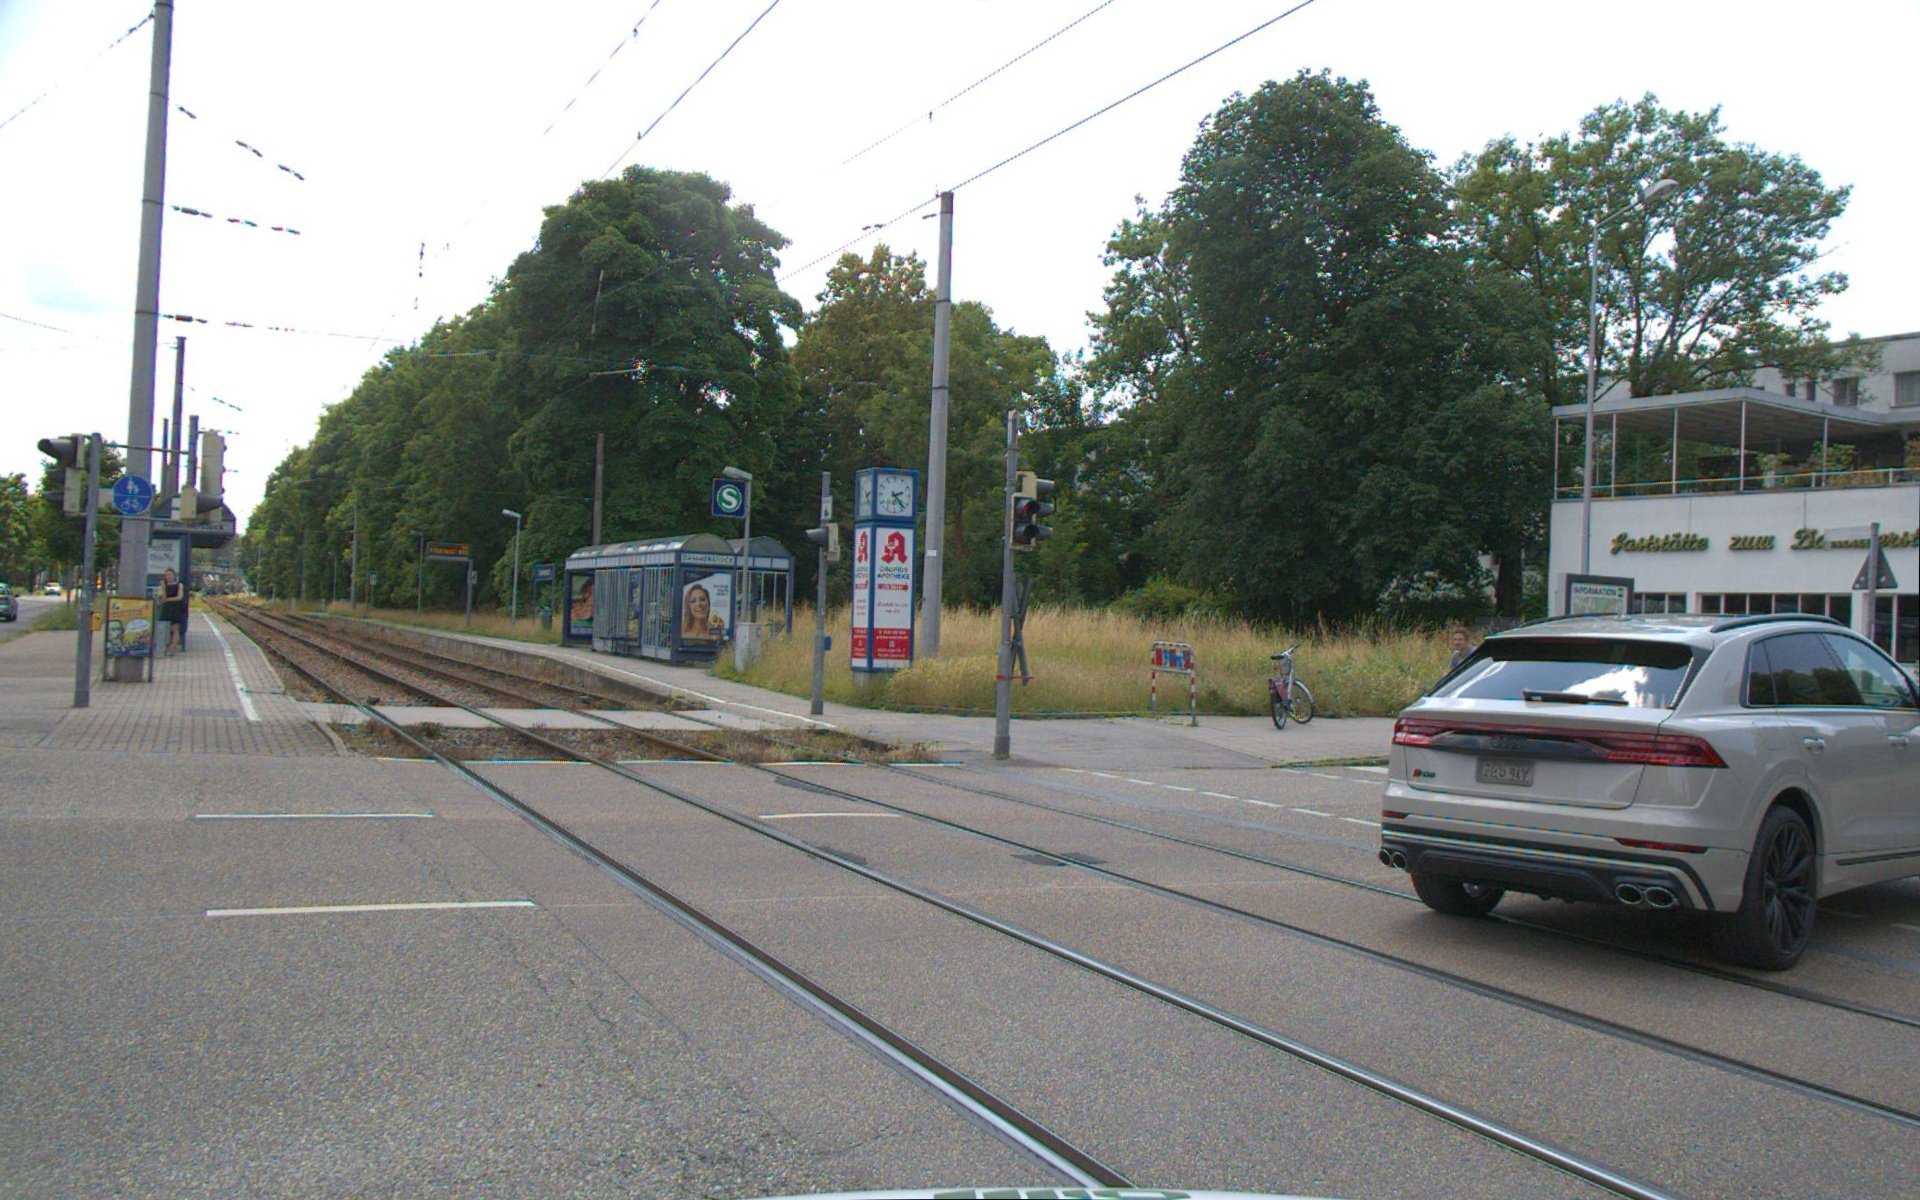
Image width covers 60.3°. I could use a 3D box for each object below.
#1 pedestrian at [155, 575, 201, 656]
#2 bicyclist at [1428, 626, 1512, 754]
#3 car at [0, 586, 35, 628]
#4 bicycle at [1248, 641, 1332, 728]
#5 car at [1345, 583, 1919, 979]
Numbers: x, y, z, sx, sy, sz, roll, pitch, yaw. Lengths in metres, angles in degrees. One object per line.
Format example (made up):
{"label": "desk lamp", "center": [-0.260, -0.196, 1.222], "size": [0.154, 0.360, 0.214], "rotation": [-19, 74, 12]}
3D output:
{"label": "pedestrian", "center": [-15.069, 0.298, 31.866], "size": [0.648, 1.540, 0.710], "rotation": [3, -1, -34]}
{"label": "bicyclist", "center": [6.126, 1.079, 19.872], "size": [0.827, 1.501, 0.452], "rotation": [3, -1, -23]}
{"label": "car", "center": [-37.490, 0.246, 64.821], "size": [1.763, 1.552, 4.266], "rotation": [4, -2, -25]}
{"label": "bicycle", "center": [4.821, 1.206, 24.098], "size": [0.686, 1.152, 1.657], "rotation": [2, 1, 30]}
{"label": "car", "center": [4.358, 0.878, 9.446], "size": [4.533, 1.713, 1.958], "rotation": [3, -2, -42]}
